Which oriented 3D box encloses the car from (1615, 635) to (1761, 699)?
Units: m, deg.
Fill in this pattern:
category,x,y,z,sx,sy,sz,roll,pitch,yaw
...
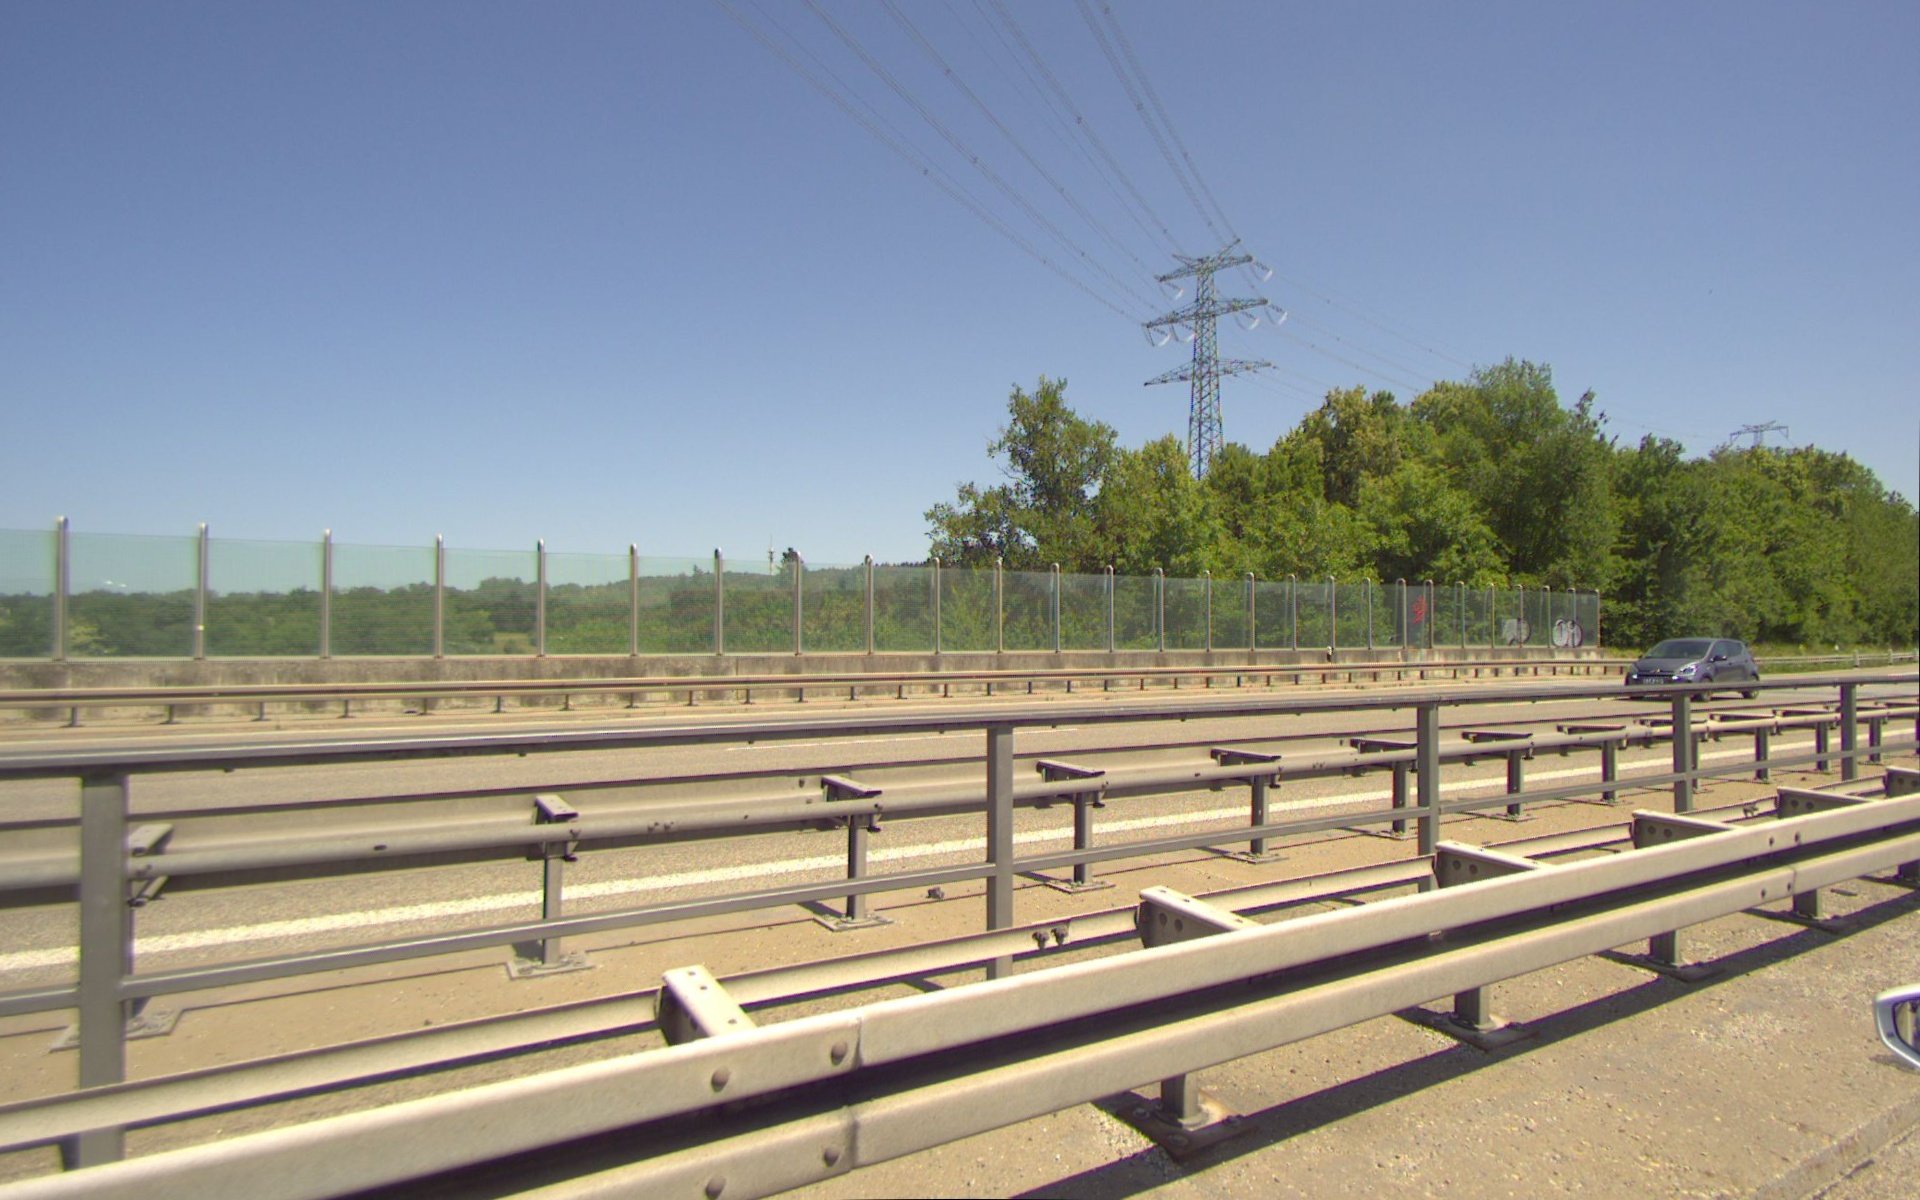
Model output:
category,x,y,z,sx,sy,sz,roll,pitch,yaw
car,17.953,1.620,24.767,3.500,1.481,1.645,2,-2,-30
